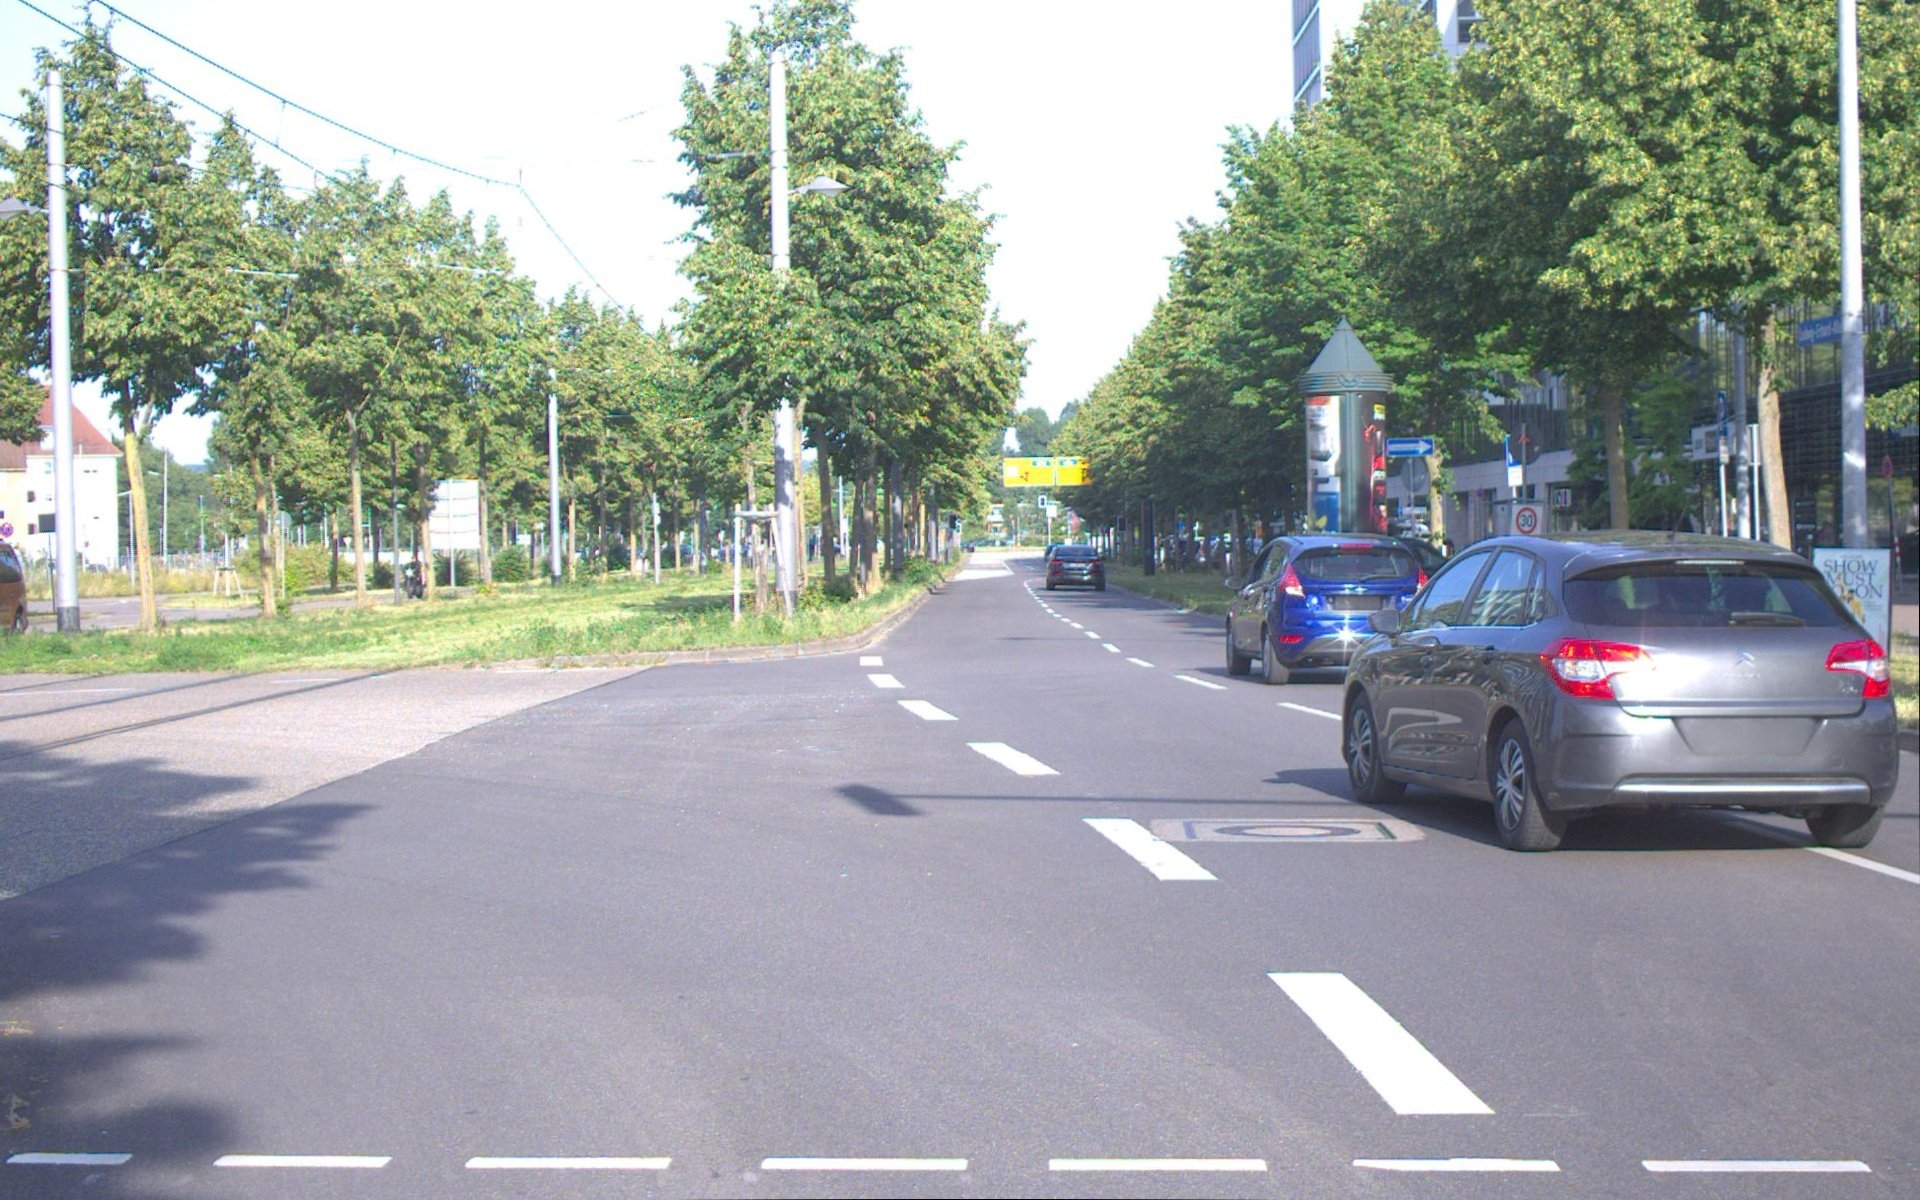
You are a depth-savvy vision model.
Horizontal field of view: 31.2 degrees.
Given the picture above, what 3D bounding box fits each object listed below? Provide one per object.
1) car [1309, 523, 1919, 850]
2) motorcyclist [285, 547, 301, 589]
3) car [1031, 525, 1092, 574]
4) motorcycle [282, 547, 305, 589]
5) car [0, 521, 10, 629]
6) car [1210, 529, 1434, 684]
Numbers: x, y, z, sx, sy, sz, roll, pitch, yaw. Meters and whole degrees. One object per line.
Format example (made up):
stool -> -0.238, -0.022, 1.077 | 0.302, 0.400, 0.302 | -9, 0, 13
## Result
car -> 3.116, 0.353, 17.057 | 1.694, 1.419, 4.040 | 1, 1, -10
motorcyclist -> -24.791, -1.199, 127.835 | 0.485, 1.559, 0.455 | 1, 1, -1
car -> 3.215, -1.599, 109.140 | 1.860, 1.519, 3.785 | 1, 1, 1
motorcycle -> -24.792, -1.189, 127.833 | 0.473, 1.525, 1.993 | 1, 1, -1
car -> -16.383, -0.401, 54.611 | 1.684, 1.769, 3.883 | 1, 1, -3
car -> 3.551, 0.022, 34.351 | 1.560, 1.419, 3.908 | 1, 1, -4
